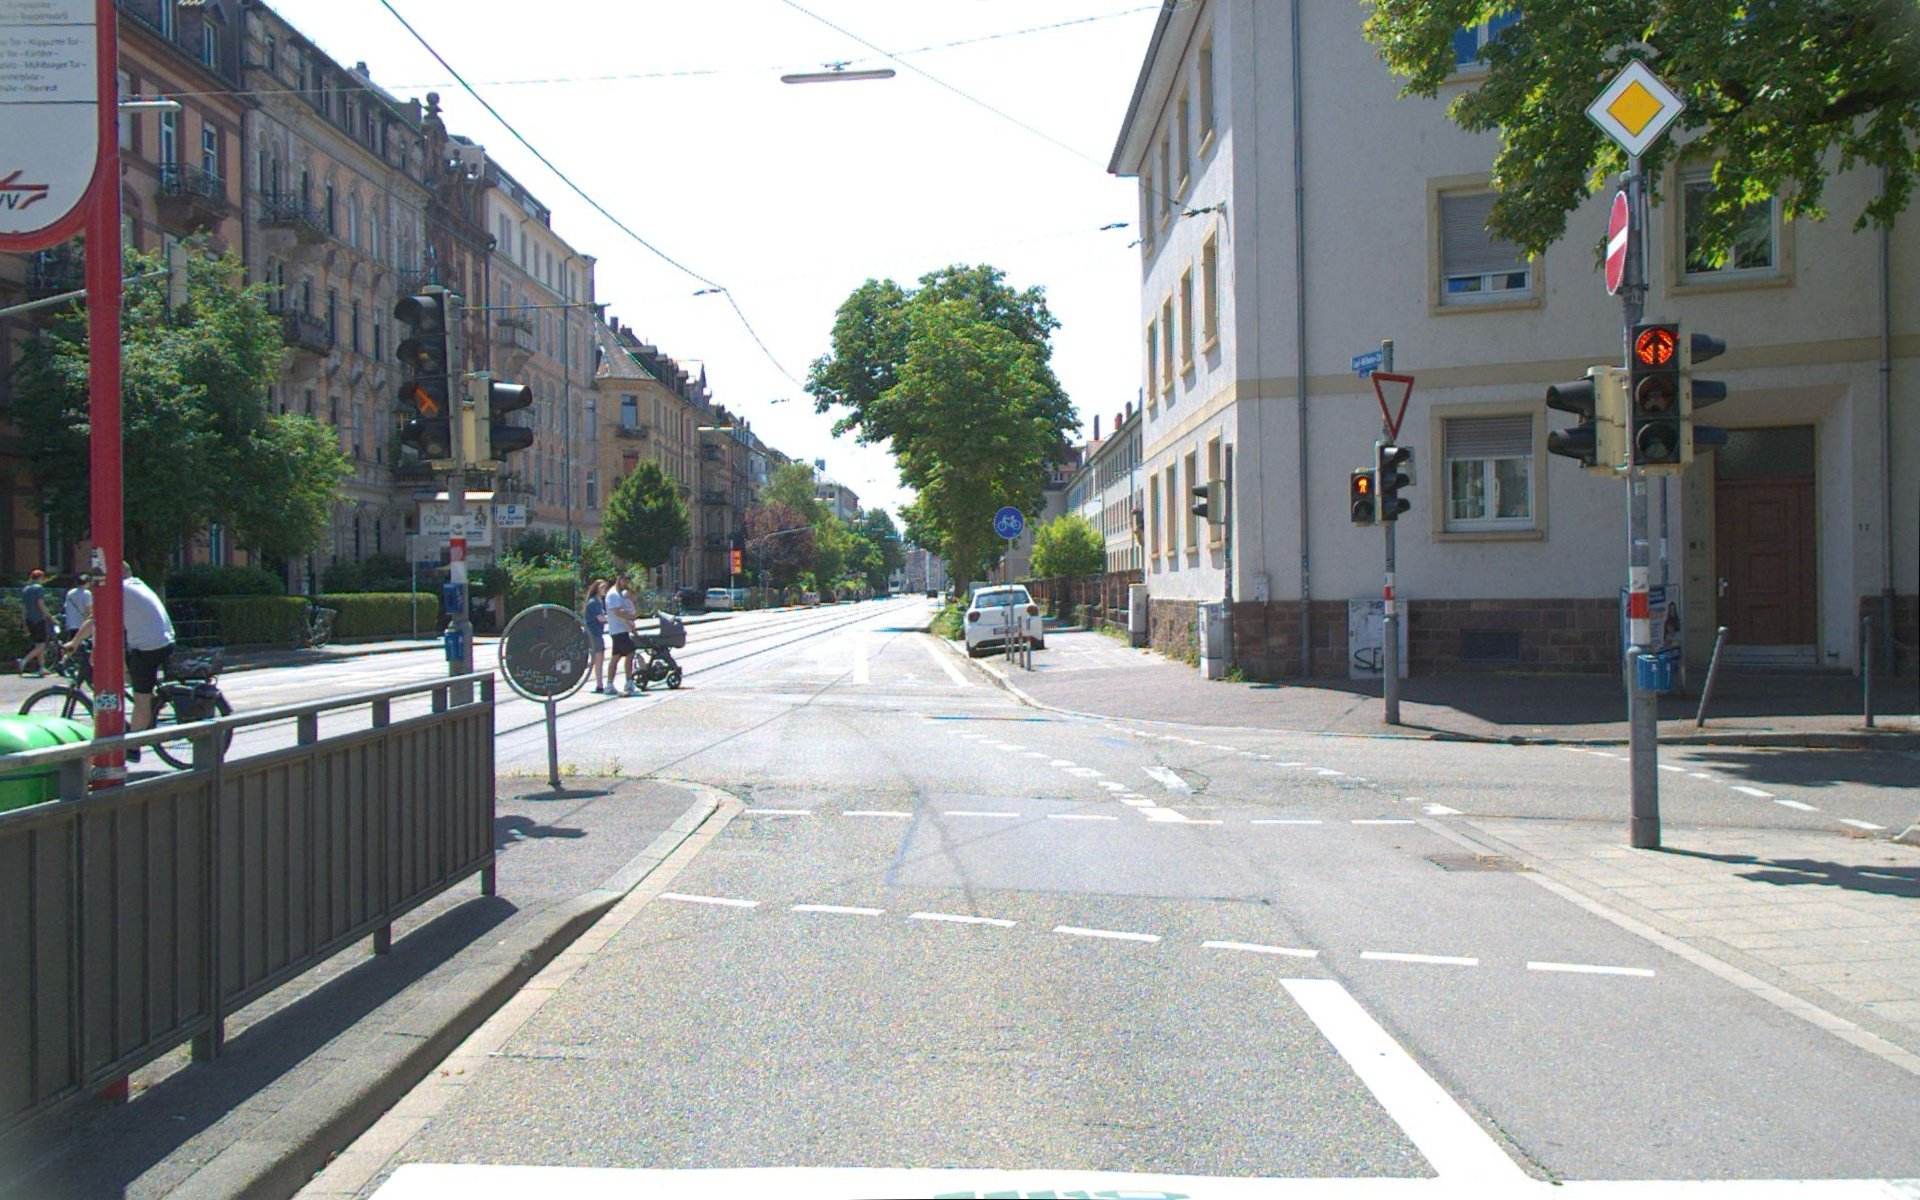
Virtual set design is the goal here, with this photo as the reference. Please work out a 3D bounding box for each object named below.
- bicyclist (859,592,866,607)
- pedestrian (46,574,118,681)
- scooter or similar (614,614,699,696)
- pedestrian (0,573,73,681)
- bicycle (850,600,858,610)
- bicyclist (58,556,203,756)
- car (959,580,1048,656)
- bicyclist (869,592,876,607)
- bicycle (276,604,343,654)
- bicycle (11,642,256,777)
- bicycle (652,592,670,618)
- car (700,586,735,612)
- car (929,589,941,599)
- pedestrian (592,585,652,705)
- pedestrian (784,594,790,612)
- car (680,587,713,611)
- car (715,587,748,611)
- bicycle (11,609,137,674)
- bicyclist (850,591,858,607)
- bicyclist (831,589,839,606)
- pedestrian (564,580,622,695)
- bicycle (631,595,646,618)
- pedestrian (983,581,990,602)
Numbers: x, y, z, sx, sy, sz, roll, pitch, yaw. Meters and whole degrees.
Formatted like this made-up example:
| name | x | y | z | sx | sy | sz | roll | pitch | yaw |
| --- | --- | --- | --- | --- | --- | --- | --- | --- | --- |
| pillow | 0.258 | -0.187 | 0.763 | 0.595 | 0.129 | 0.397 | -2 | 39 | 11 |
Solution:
| name | x | y | z | sx | sy | sz | roll | pitch | yaw |
| --- | --- | --- | --- | --- | --- | --- | --- | --- | --- |
| bicyclist | -12.220 | -0.028 | 207.669 | 0.712 | 1.850 | 1.079 | 1 | 0 | 1 |
| pedestrian | -15.589 | 0.471 | 29.391 | 0.799 | 1.854 | 0.873 | 1 | 1 | -1 |
| scooter or similar | -4.515 | 0.812 | 24.638 | 1.177 | 1.175 | 0.558 | 1 | -1 | -5 |
| pedestrian | -16.344 | 0.464 | 29.282 | 0.799 | 1.854 | 0.873 | 1 | 1 | -1 |
| bicycle | -12.188 | 0.608 | 189.510 | 0.712 | 1.142 | 2.085 | 1 | 0 | 1 |
| bicyclist | -6.906 | 0.459 | 13.796 | 0.829 | 1.620 | 0.700 | 0 | 0 | 7 |
| car | 0.927 | 0.391 | 37.330 | 1.778 | 1.542 | 3.999 | -3 | 0 | -1 |
| bicyclist | -10.951 | -0.032 | 207.536 | 0.712 | 1.850 | 1.079 | 1 | 0 | 1 |
| bicycle | -15.899 | 0.695 | 40.502 | 0.920 | 1.156 | 2.767 | 1 | 0 | -9 |
| bicycle | -6.880 | 0.896 | 13.803 | 1.723 | 1.075 | 0.700 | 0 | 0 | 7 |
| bicycle | -15.276 | 0.238 | 84.425 | 0.664 | 1.301 | 1.917 | -1 | 0 | -4 |
| car | -16.875 | -0.071 | 115.303 | 1.880 | 1.745 | 3.999 | 1 | 0 | -1 |
| car | -3.861 | -0.873 | 252.816 | 1.788 | 1.545 | 3.999 | 1 | 0 | -1 |
| pedestrian | -4.820 | 0.633 | 23.604 | 0.660 | 1.674 | 0.559 | 1 | -1 | 6 |
| pedestrian | -14.388 | 0.208 | 137.536 | 0.398 | 1.486 | 0.436 | -1 | 0 | -1 |
| car | -19.675 | -0.085 | 123.598 | 1.880 | 1.745 | 3.999 | 1 | 0 | -1 |
| car | -17.044 | -0.041 | 123.564 | 1.880 | 1.745 | 3.999 | 1 | 0 | -1 |
| bicycle | -16.713 | 0.757 | 31.295 | 0.918 | 1.156 | 2.773 | 1 | 0 | -2 |
| bicyclist | -12.157 | -0.112 | 189.551 | 0.712 | 1.799 | 1.079 | 1 | 0 | 1 |
| bicyclist | -12.379 | -0.224 | 163.889 | 0.712 | 1.657 | 1.079 | 1 | 0 | 1 |
| pedestrian | -5.453 | 0.548 | 24.598 | 0.660 | 1.674 | 0.559 | 1 | -1 | 6 |
| bicycle | -15.499 | 0.325 | 79.778 | 0.665 | 1.083 | 1.913 | -1 | 0 | -12 |
| pedestrian | 2.028 | -0.653 | 127.082 | 0.511 | 1.590 | 0.573 | -1 | 0 | -1 |
